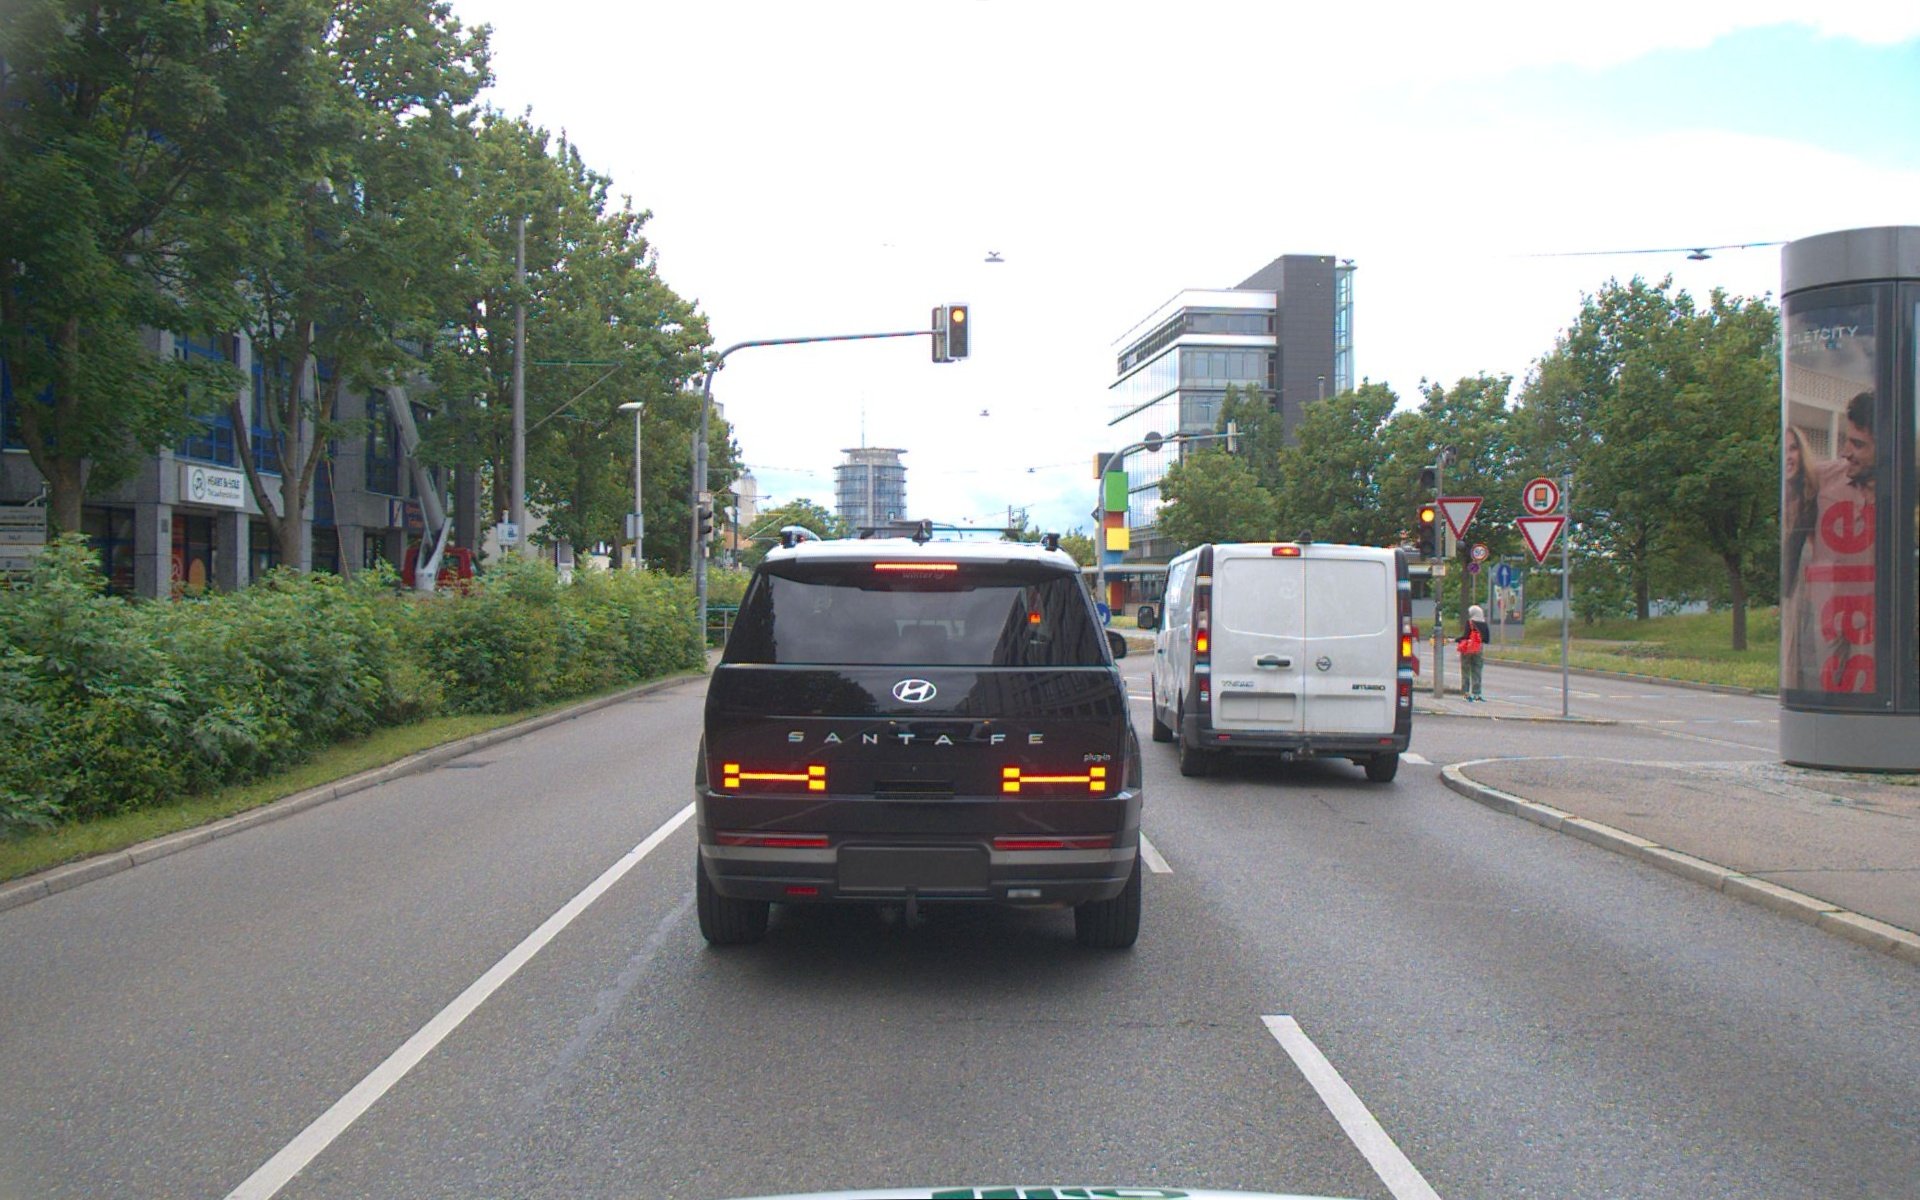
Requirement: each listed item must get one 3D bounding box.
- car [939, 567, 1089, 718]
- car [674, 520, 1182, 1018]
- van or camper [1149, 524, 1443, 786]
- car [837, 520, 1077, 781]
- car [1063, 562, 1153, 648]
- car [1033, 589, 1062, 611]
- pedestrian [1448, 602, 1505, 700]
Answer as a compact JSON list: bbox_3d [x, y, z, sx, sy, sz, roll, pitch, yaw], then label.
[{"bbox_3d":[0.665,0.510,21.523,1.739,1.747,4.339,1,0,1],"label":"car"},{"bbox_3d":[-0.137,0.597,7.915,1.831,1.791,3.879,0,0,-1],"label":"car"},{"bbox_3d":[2.923,0.420,15.400,1.952,2.049,4.654,1,0,2],"label":"van or camper"},{"bbox_3d":[-0.048,0.383,14.852,1.876,2.038,3.879,0,0,-1],"label":"car"},{"bbox_3d":[3.717,0.131,42.178,1.952,2.049,4.000,1,0,0],"label":"car"},{"bbox_3d":[7.032,0.013,133.316,1.954,1.713,3.997,1,0,-3],"label":"car"},{"bbox_3d":[8.755,0.861,28.025,0.733,1.612,0.565,2,0,-41],"label":"pedestrian"}]
